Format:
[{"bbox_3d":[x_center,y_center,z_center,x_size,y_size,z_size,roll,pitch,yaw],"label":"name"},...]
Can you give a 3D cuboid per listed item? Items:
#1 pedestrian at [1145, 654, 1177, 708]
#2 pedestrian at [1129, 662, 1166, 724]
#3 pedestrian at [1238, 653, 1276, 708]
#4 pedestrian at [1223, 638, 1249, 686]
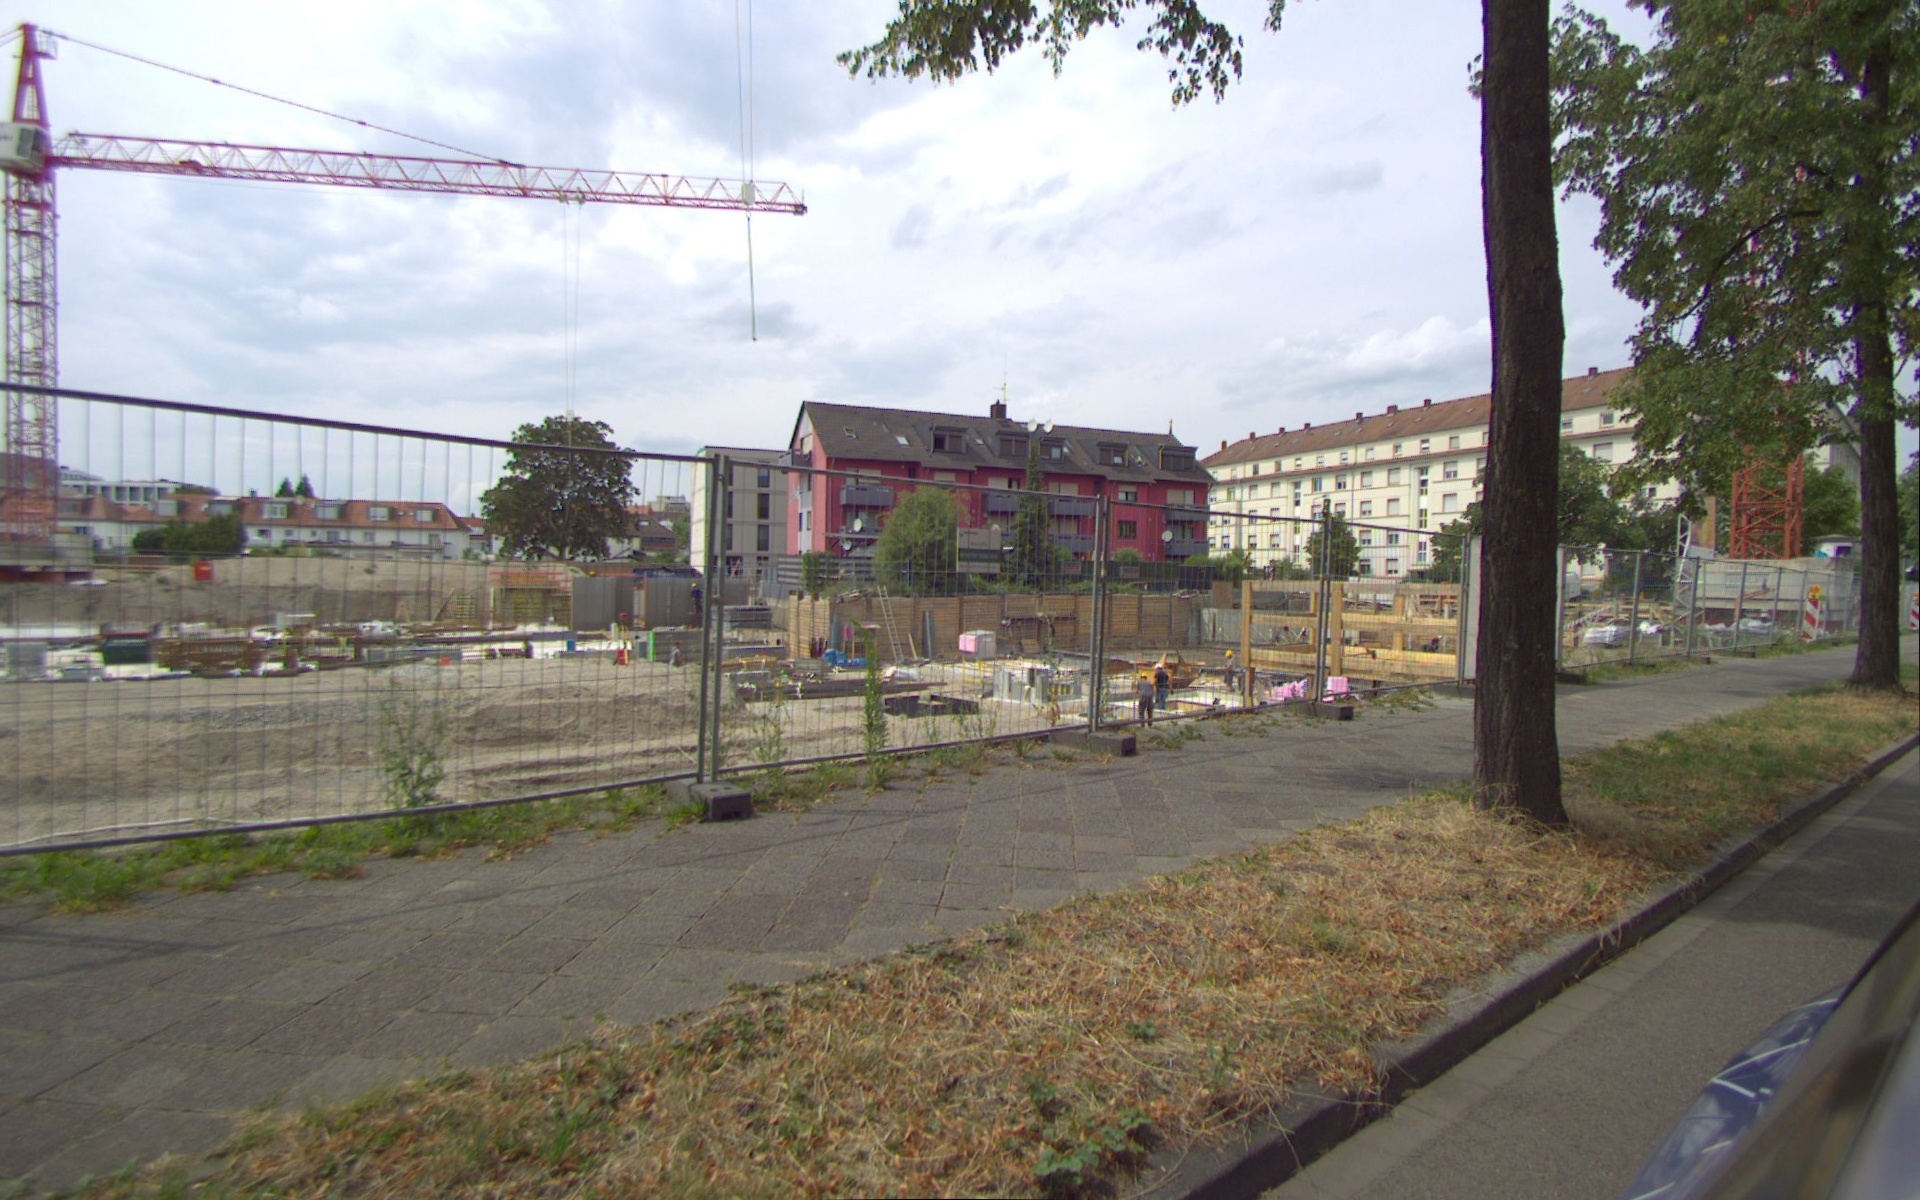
[{"bbox_3d":[6.858,2.768,34.531,0.828,1.743,0.722,1,2,-6],"label":"pedestrian"},{"bbox_3d":[5.723,2.827,30.925,0.705,1.743,0.847,1,3,-24],"label":"pedestrian"},{"bbox_3d":[10.115,2.720,34.477,0.965,1.743,0.845,2,2,2],"label":"pedestrian"},{"bbox_3d":[10.673,2.390,39.147,0.707,1.743,0.845,2,2,2],"label":"pedestrian"}]
